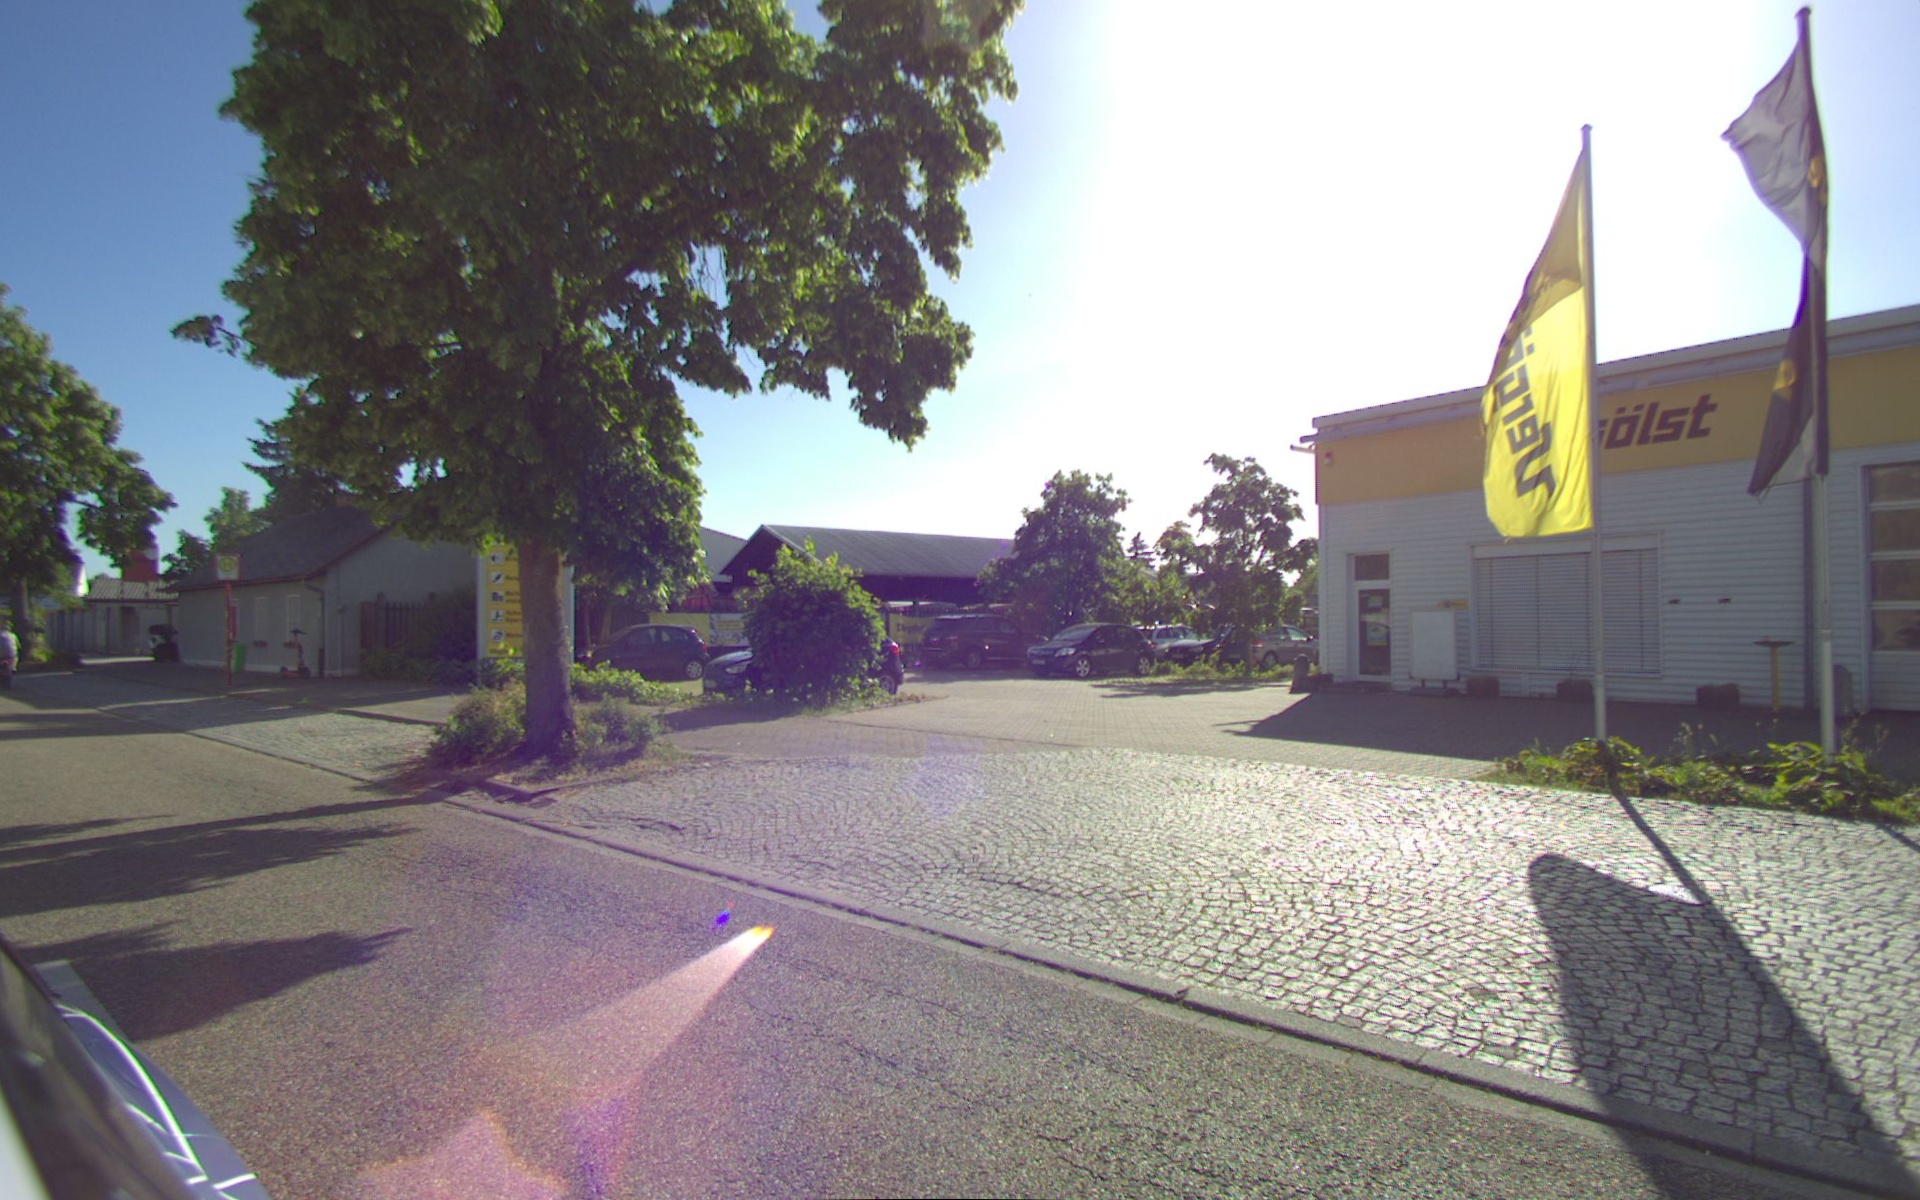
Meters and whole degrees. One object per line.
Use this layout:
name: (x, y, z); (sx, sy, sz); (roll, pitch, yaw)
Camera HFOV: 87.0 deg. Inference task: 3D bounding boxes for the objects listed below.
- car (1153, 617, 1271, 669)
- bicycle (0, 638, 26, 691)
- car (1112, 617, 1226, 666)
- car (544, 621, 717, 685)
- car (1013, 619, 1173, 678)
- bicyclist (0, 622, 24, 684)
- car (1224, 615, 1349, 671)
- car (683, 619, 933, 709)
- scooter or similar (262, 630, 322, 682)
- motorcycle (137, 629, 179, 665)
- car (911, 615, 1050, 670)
car: (8.549, 1.417, 34.254); (4.006, 1.651, 1.778); (0, -2, -38)
bicycle: (-24.588, 1.626, 25.848); (2.604, 1.249, 0.830); (-1, -4, 43)
car: (7.446, 1.426, 35.889); (4.006, 1.651, 1.778); (0, -2, -38)
car: (-8.682, 1.348, 26.837); (4.012, 1.527, 1.775); (1, -2, -44)
car: (3.836, 1.320, 28.773); (4.386, 1.519, 2.004); (0, -2, -38)
bicyclist: (-24.679, 1.342, 25.963); (1.137, 1.554, 0.830); (-1, -4, 43)
car: (10.325, 1.298, 31.934); (4.006, 1.651, 1.778); (0, -2, -38)
car: (-2.853, 1.138, 19.358); (4.287, 1.519, 2.005); (0, -1, -36)
scooter or similar: (-16.778, 1.390, 25.409); (1.568, 1.280, 0.479); (-1, -1, 23)
motorcycle: (-29.306, 1.682, 36.966); (2.537, 1.243, 0.692); (-1, 0, 40)
car: (0.718, 1.348, 33.259); (4.263, 1.668, 2.004); (0, -2, -38)
